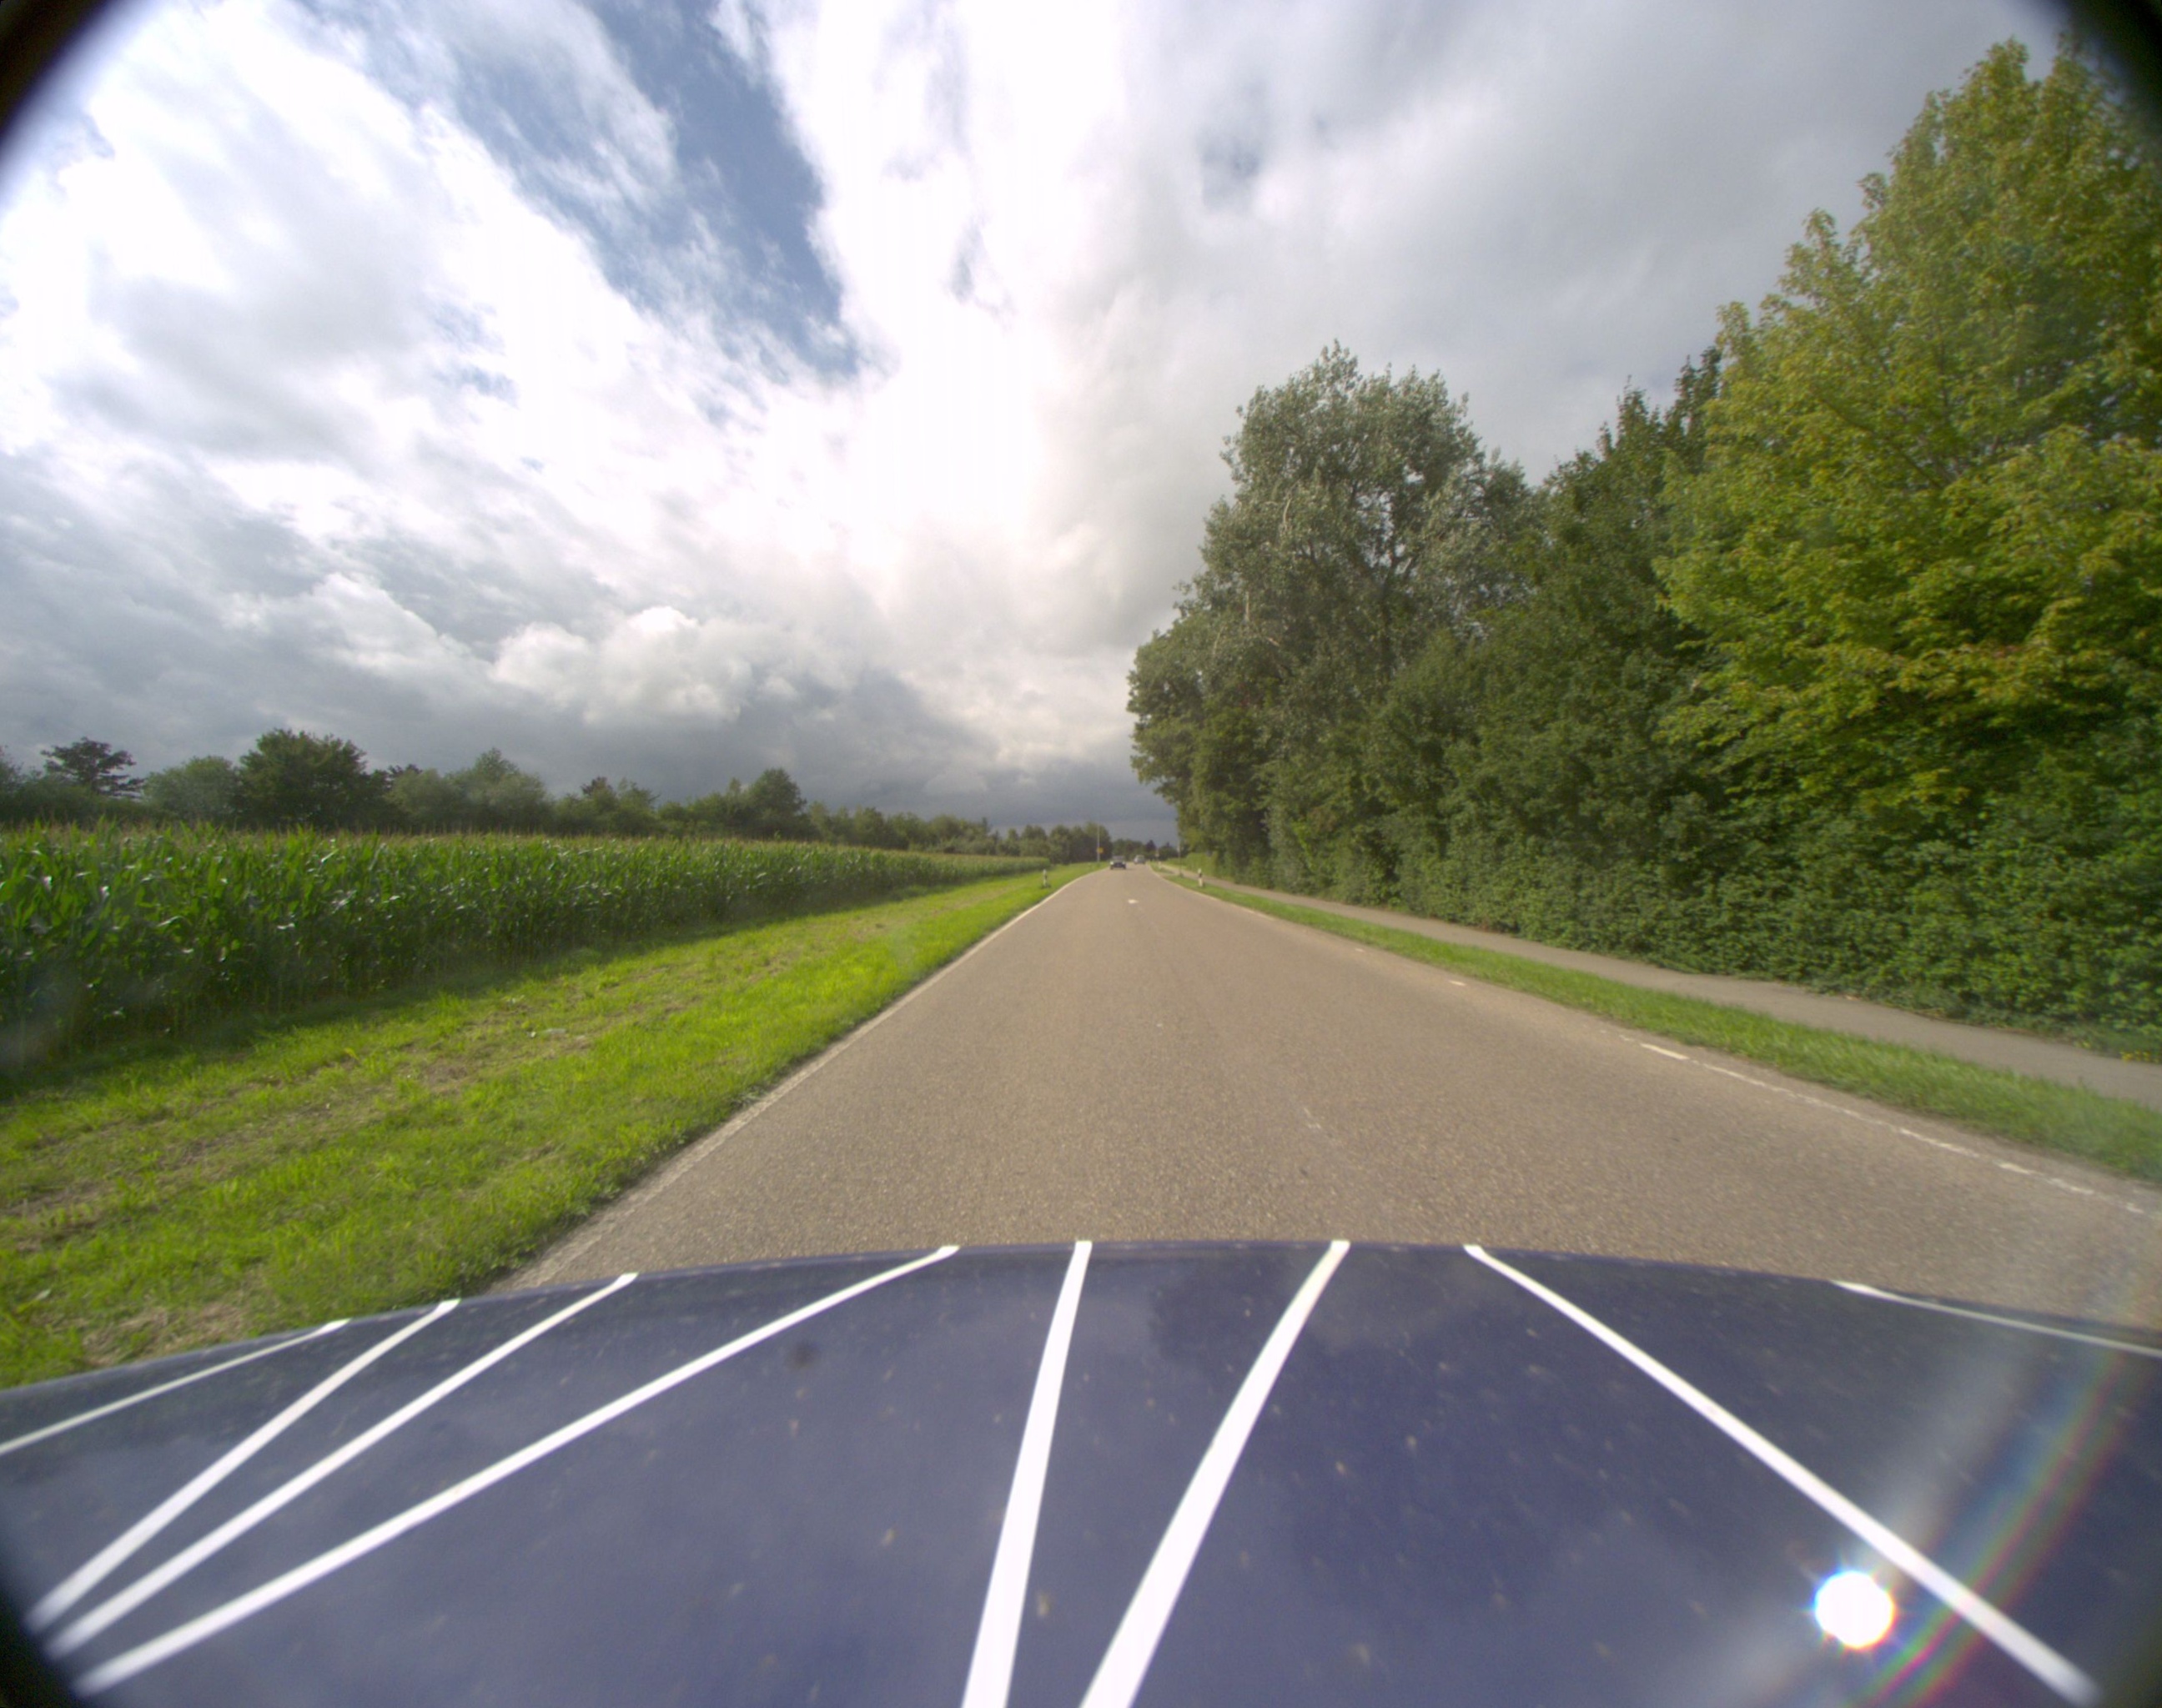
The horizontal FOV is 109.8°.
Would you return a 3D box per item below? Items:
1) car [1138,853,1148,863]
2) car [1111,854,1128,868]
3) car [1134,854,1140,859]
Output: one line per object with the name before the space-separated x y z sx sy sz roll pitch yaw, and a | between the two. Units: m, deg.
car | 11.528 0.732 140.663 1.815 1.641 4.293 1 0 4
car | 4.738 0.839 93.087 1.998 1.594 4.001 -1 0 4
car | 17.173 0.694 232.265 1.744 1.462 4.001 1 0 4
